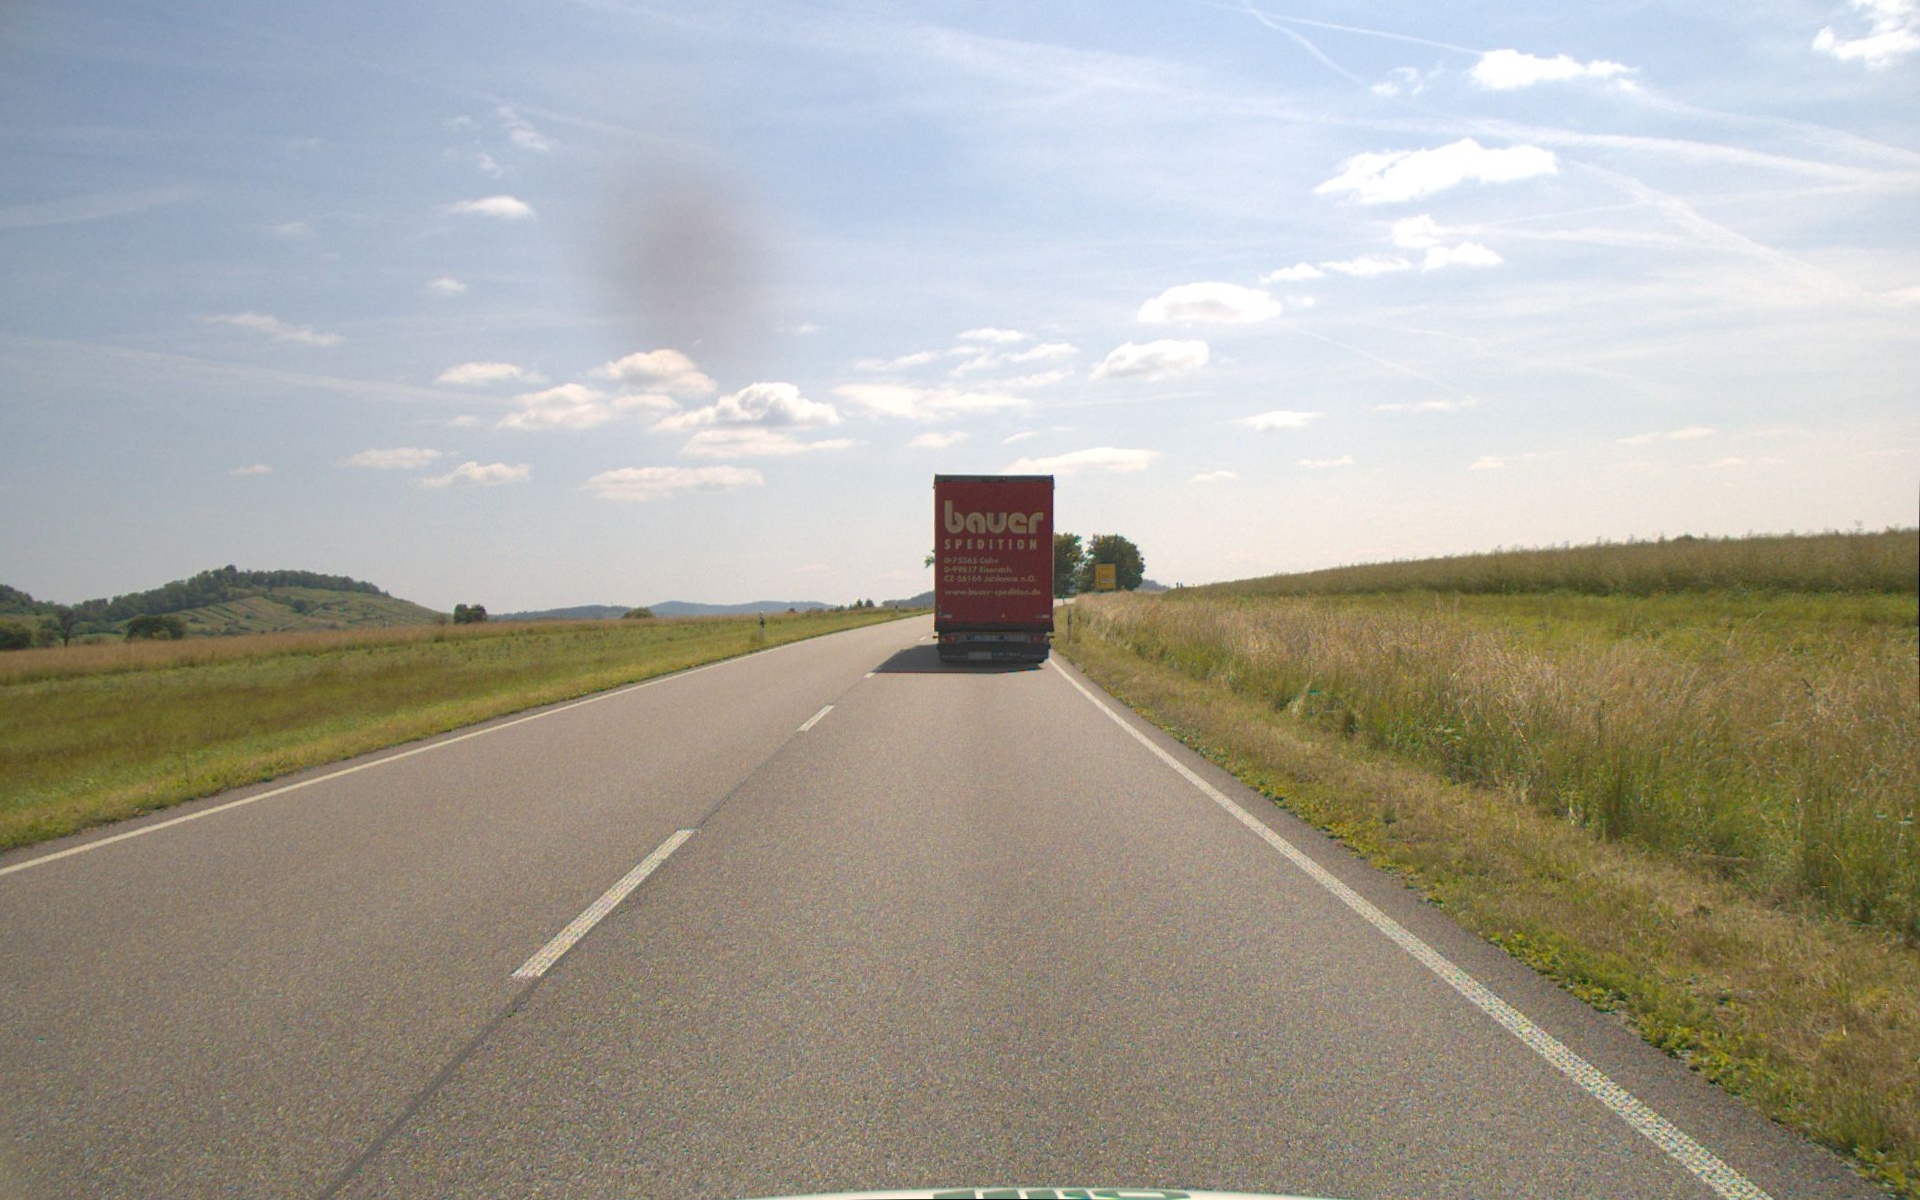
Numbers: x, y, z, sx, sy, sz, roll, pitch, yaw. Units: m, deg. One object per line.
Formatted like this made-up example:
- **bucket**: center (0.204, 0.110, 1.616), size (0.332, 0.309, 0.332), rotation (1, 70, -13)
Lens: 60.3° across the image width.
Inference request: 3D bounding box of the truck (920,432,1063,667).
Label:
- **truck**: center (0.731, -1.091, 38.706), size (2.914, 4.795, 9.368), rotation (0, 1, 1)
